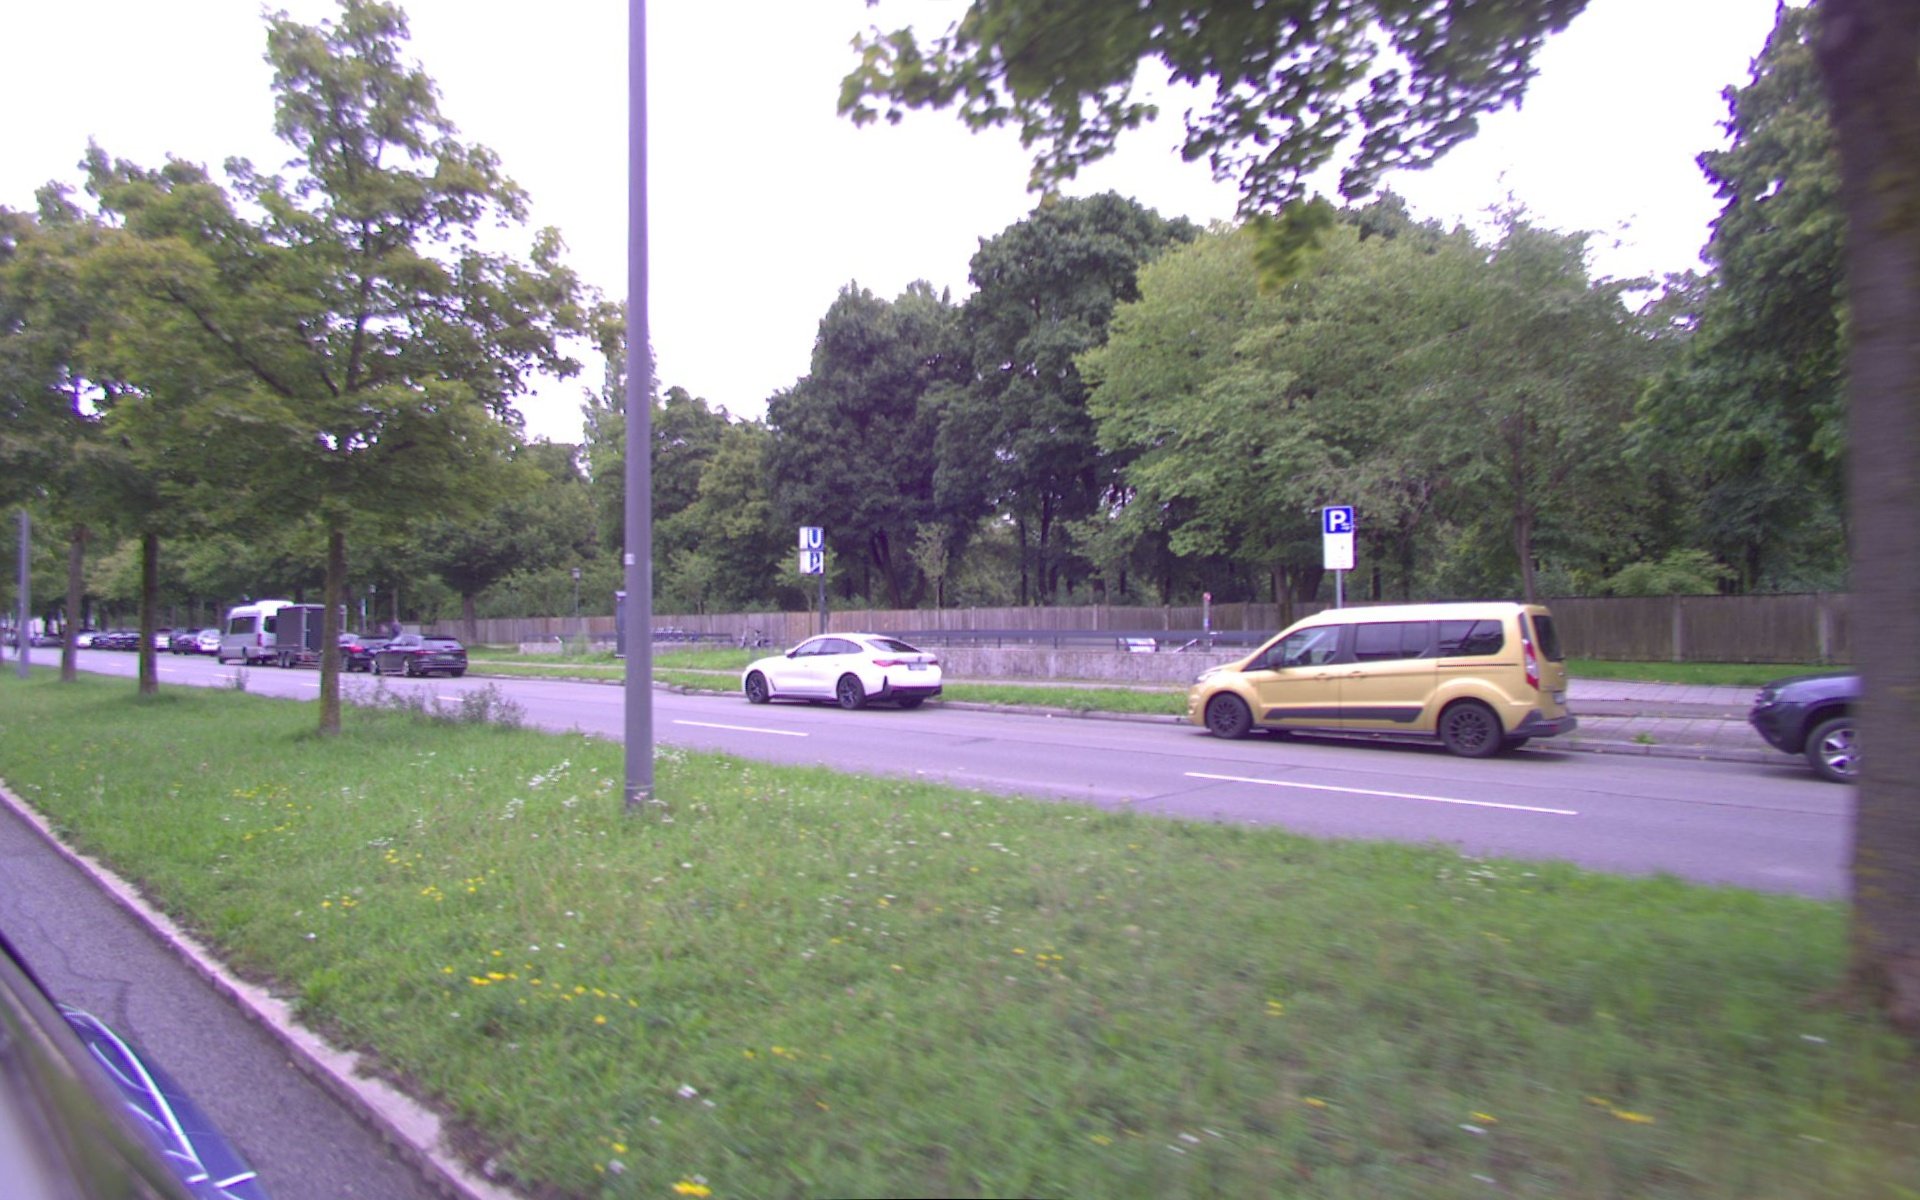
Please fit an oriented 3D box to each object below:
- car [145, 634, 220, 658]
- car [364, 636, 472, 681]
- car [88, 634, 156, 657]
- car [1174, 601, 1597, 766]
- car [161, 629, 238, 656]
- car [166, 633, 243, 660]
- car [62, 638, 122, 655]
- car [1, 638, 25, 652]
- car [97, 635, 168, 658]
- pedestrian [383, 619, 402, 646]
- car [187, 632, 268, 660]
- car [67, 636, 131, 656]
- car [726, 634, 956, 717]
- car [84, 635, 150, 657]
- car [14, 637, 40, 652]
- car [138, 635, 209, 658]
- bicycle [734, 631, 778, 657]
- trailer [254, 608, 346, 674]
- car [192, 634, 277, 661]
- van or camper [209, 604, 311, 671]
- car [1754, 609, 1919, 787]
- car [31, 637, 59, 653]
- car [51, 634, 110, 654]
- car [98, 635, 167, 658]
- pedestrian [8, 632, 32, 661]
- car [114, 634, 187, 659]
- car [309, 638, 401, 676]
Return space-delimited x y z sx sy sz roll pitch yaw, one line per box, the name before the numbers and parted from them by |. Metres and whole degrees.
car | -55.980 3.293 72.971 1.873 1.474 3.983 -2 0 13
car | -18.346 1.943 34.190 4.429 1.436 1.781 -2 -4 41
car | -68.026 3.694 82.234 1.870 1.569 3.990 -2 0 8
car | 5.400 1.007 13.338 4.816 1.796 1.795 -2 -4 42
car | -51.459 2.872 68.588 1.783 1.599 3.985 -2 0 12
car | -49.417 3.007 66.281 1.779 1.497 3.992 -2 0 6
car | -77.334 4.142 90.208 1.574 1.376 3.987 -1 0 10
car | -110.737 5.223 118.317 1.864 1.454 4.171 -1 -1 -45
car | -63.343 3.544 77.586 1.870 1.569 3.990 -2 0 8
pedestrian | -37.905 2.176 67.580 0.872 1.781 0.761 -2 -3 37
car | -46.829 2.941 64.805 1.780 1.585 4.316 -1 0 6
car | -74.869 3.985 88.085 1.870 1.569 3.990 -2 0 8
car | -2.519 1.464 20.560 4.871 1.484 1.837 -2 -4 41
car | -70.486 3.822 84.696 1.870 1.569 3.990 -2 0 8
car | -100.388 4.753 108.873 1.864 1.454 4.171 -1 -1 -45
car | -58.235 3.448 75.017 1.723 1.466 3.983 -2 0 13
bicycle | -7.833 1.671 38.916 0.432 0.937 1.801 -2 -1 40
trailer | -27.628 1.712 42.333 4.656 2.610 1.995 -2 -4 41
car | -44.390 2.903 62.027 1.780 1.449 4.316 -1 0 6
van or camper | -32.158 1.750 46.349 7.543 2.859 2.013 -2 -4 41
car | 10.186 0.919 9.468 4.253 1.658 1.719 -2 -4 41
car | -91.418 4.514 101.090 1.864 1.454 4.171 -1 -1 -45
car | -82.223 4.120 94.677 1.760 1.741 3.992 -1 0 6
car | -65.713 3.663 80.434 1.870 1.569 3.990 -2 0 8
pedestrian | -56.518 2.806 60.846 0.859 1.711 0.773 1 -2 -29
car | -61.002 3.491 76.378 1.873 1.569 3.983 -2 0 13
car | -23.127 2.149 38.627 4.236 1.394 1.781 -2 -4 41
